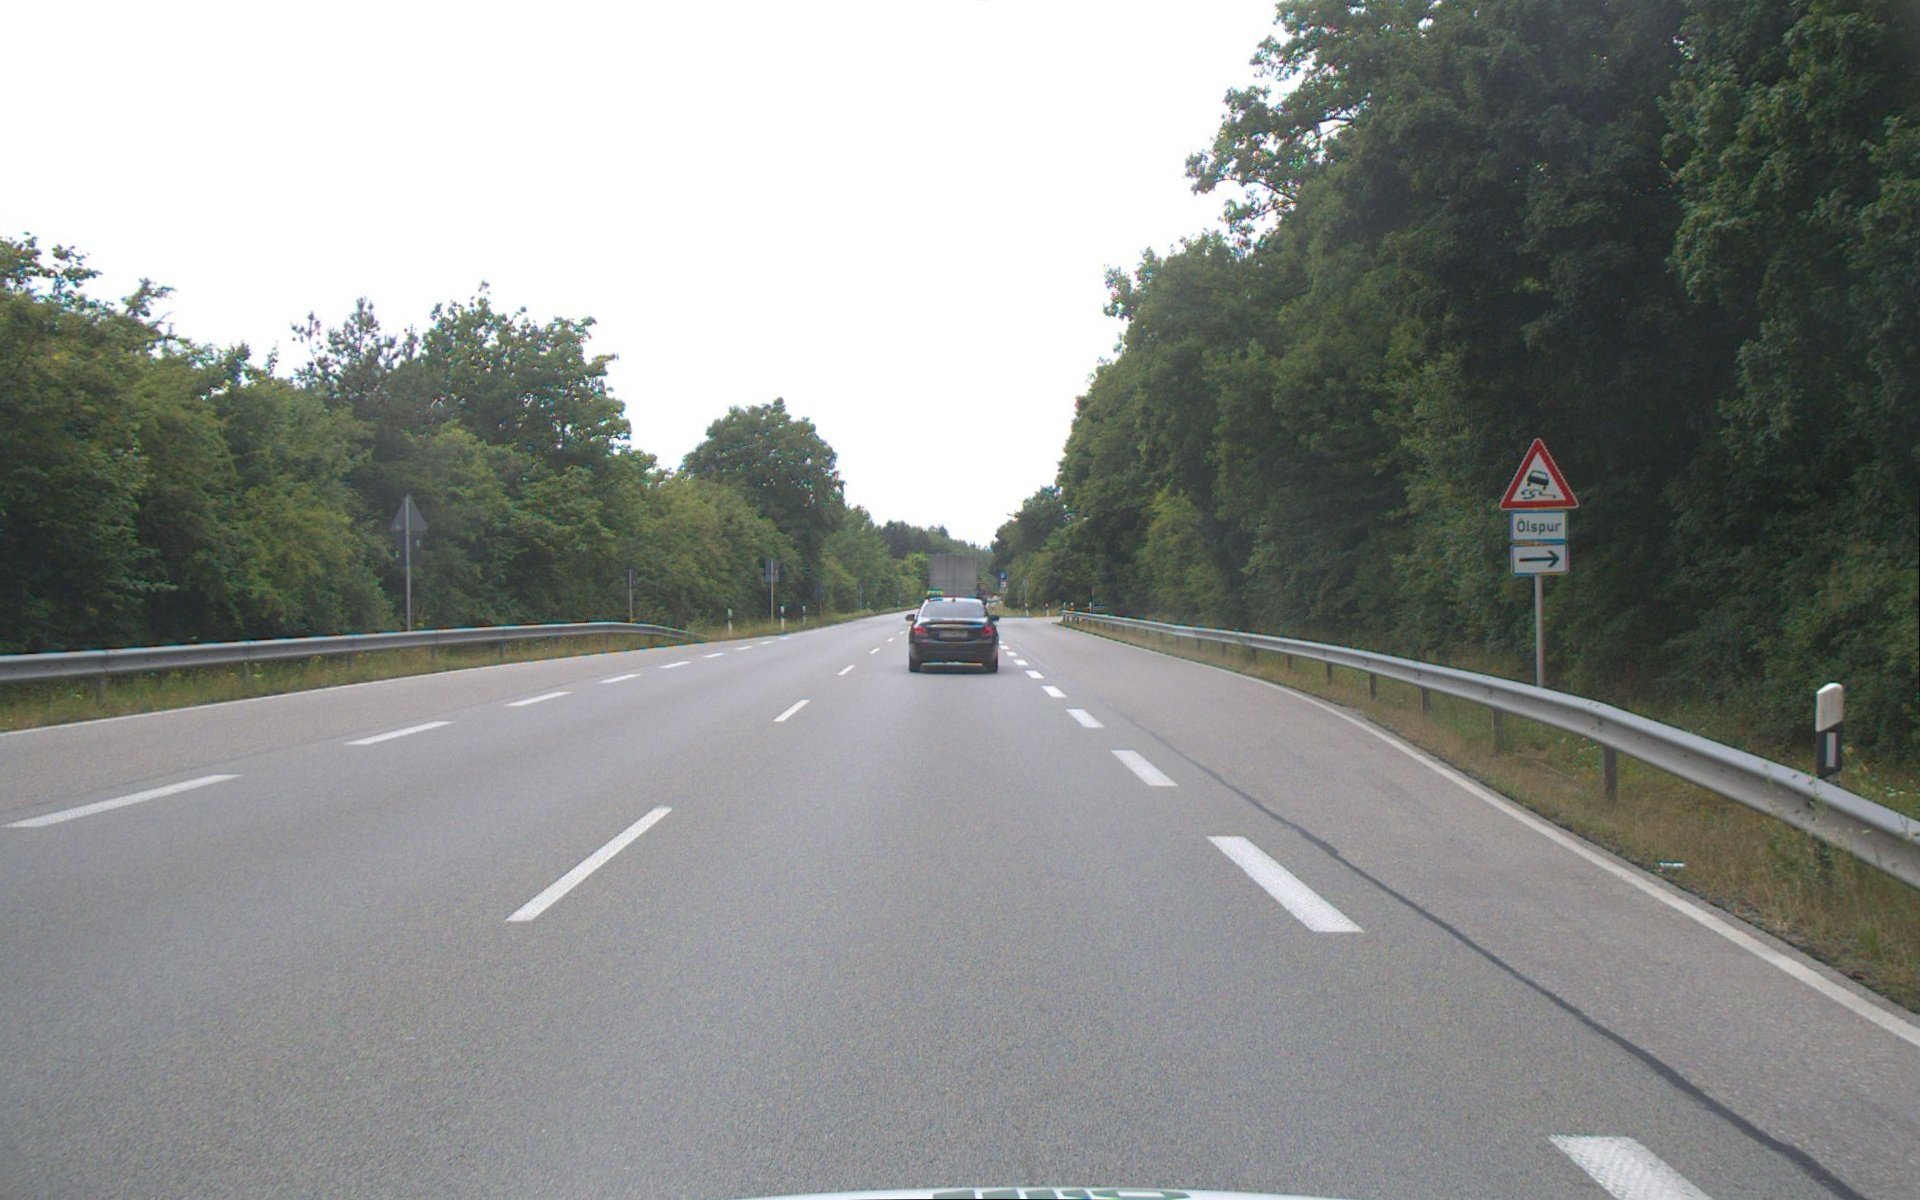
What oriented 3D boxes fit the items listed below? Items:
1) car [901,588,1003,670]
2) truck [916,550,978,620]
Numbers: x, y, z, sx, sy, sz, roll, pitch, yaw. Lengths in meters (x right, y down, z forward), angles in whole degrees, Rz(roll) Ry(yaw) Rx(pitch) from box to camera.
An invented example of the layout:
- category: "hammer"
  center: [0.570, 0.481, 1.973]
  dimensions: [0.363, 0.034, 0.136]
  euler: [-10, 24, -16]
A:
- category: "car"
  center: [-0.215, 0.571, 34.208]
  dimensions: [1.756, 1.579, 3.995]
  euler: [1, 0, -5]
- category: "truck"
  center: [-0.792, -0.788, 92.531]
  dimensions: [3.214, 3.675, 11.396]
  euler: [1, 0, -1]
